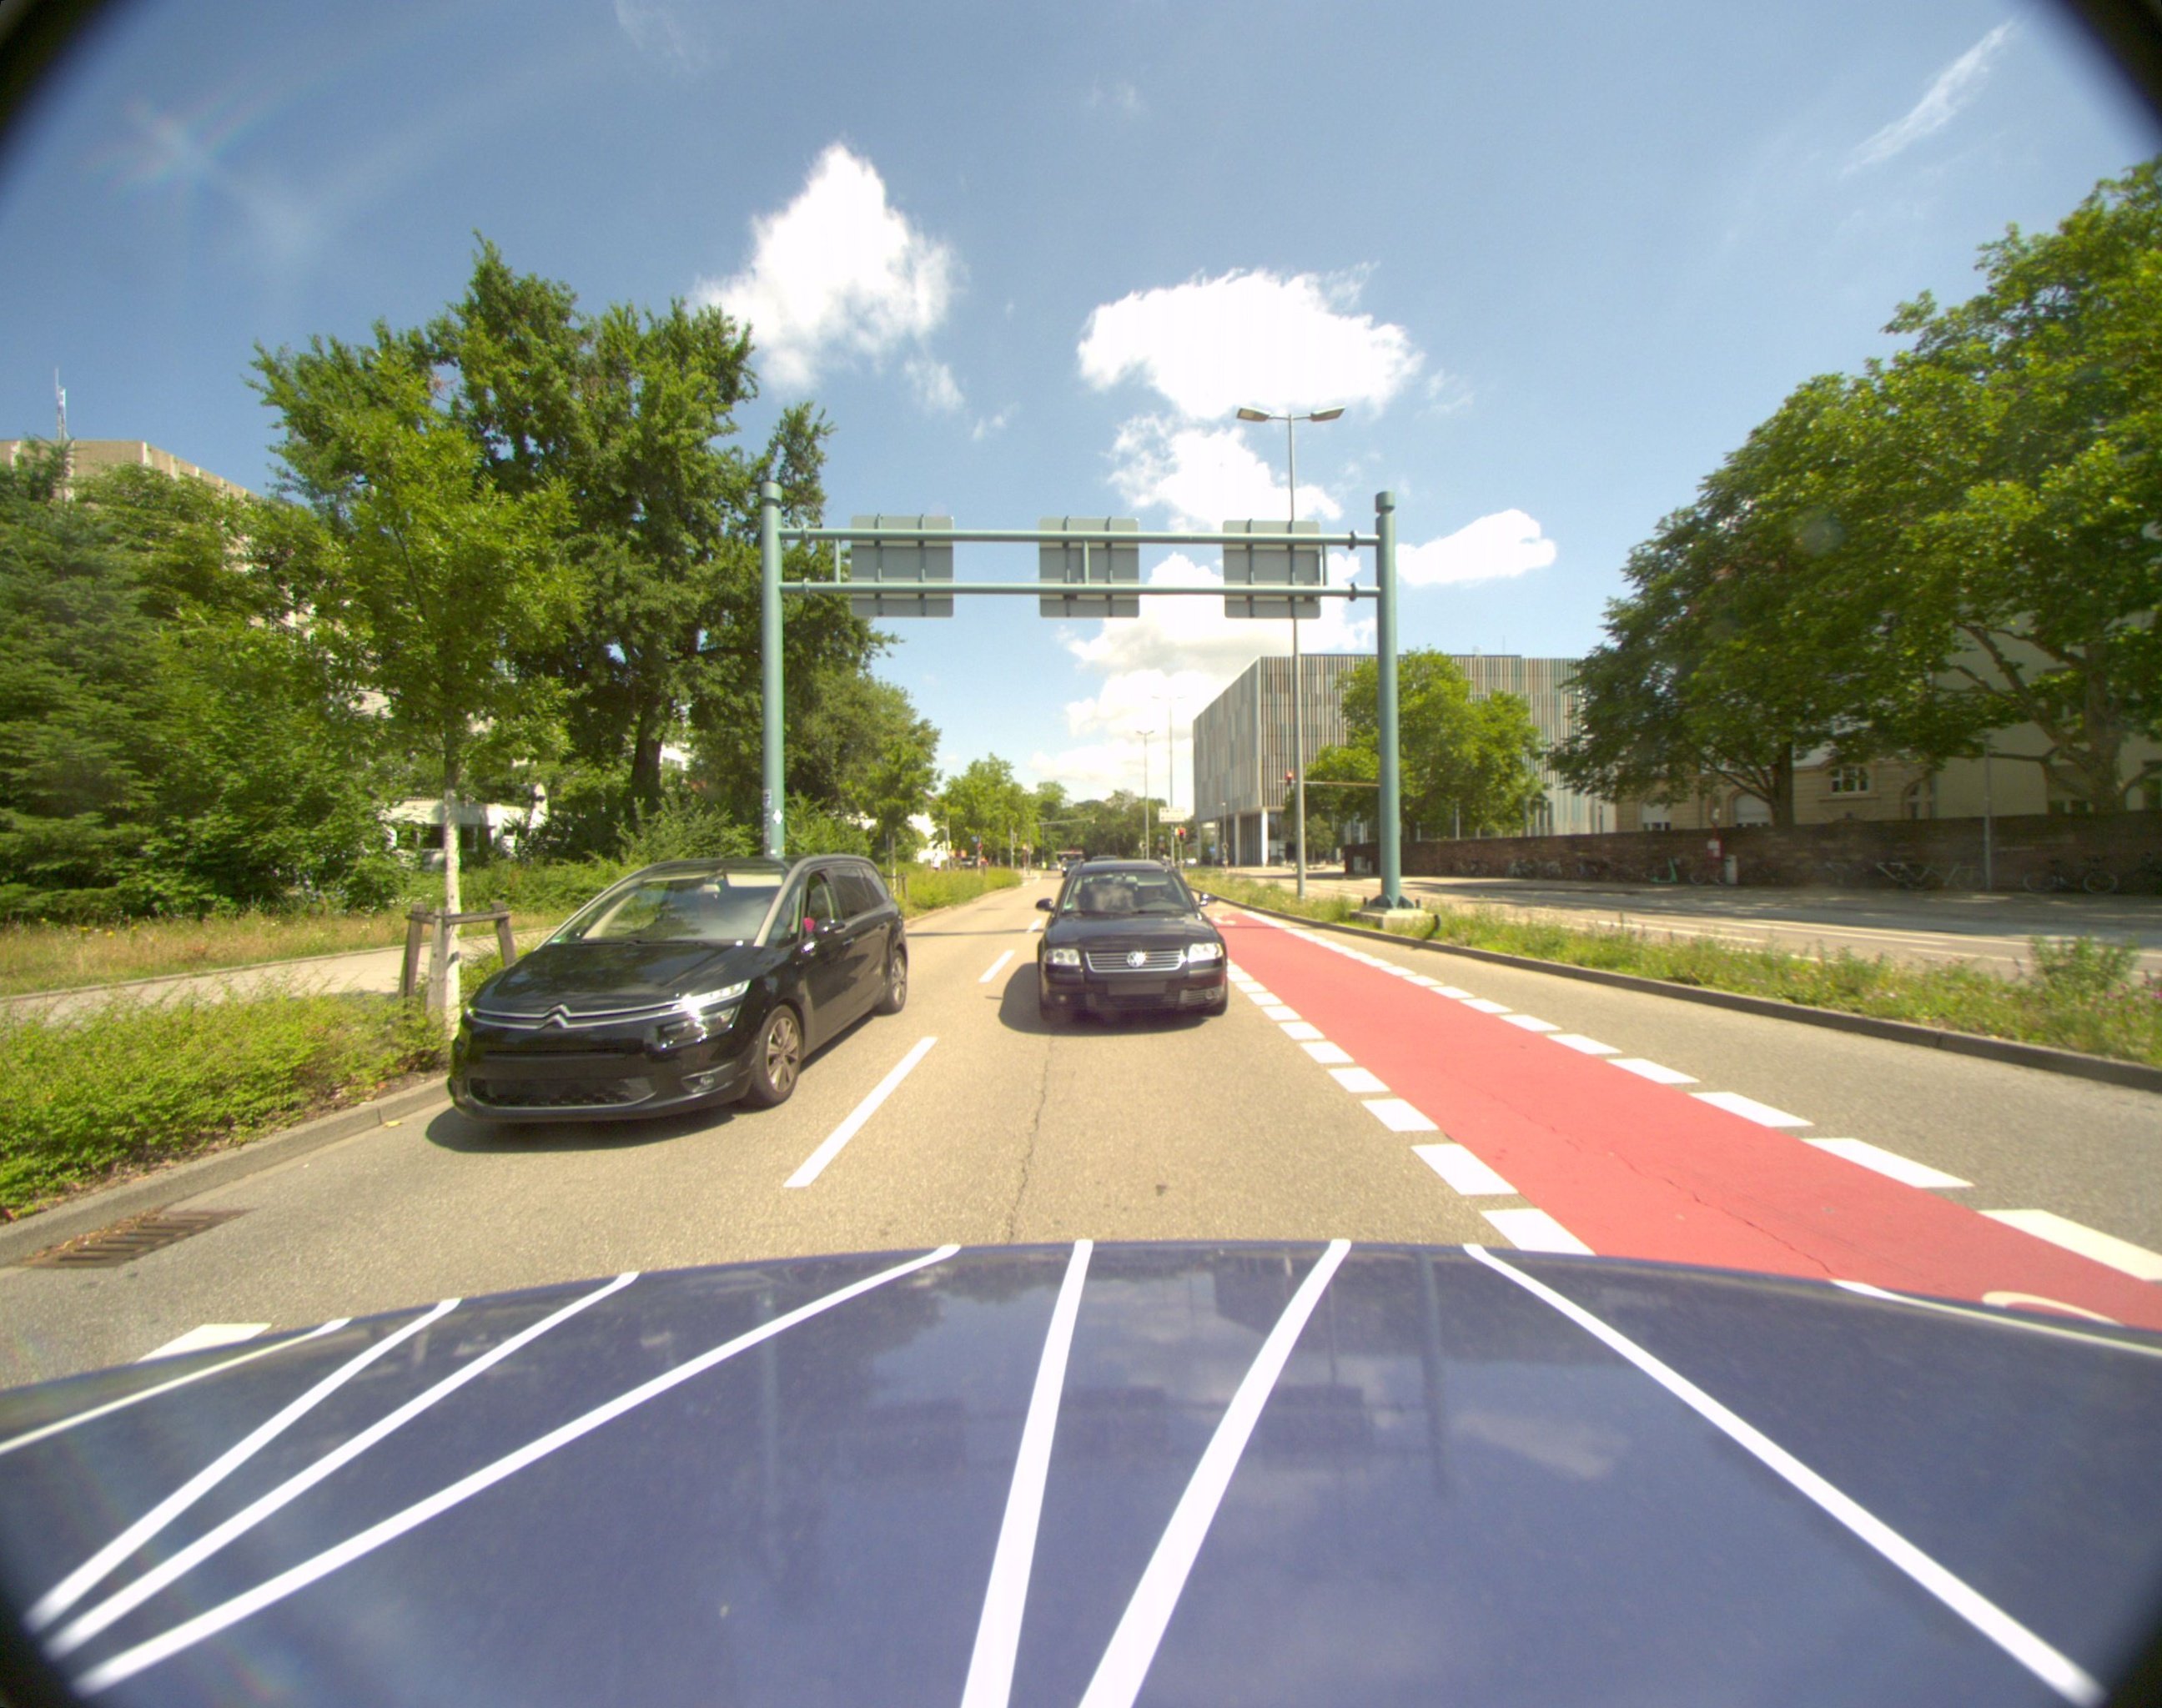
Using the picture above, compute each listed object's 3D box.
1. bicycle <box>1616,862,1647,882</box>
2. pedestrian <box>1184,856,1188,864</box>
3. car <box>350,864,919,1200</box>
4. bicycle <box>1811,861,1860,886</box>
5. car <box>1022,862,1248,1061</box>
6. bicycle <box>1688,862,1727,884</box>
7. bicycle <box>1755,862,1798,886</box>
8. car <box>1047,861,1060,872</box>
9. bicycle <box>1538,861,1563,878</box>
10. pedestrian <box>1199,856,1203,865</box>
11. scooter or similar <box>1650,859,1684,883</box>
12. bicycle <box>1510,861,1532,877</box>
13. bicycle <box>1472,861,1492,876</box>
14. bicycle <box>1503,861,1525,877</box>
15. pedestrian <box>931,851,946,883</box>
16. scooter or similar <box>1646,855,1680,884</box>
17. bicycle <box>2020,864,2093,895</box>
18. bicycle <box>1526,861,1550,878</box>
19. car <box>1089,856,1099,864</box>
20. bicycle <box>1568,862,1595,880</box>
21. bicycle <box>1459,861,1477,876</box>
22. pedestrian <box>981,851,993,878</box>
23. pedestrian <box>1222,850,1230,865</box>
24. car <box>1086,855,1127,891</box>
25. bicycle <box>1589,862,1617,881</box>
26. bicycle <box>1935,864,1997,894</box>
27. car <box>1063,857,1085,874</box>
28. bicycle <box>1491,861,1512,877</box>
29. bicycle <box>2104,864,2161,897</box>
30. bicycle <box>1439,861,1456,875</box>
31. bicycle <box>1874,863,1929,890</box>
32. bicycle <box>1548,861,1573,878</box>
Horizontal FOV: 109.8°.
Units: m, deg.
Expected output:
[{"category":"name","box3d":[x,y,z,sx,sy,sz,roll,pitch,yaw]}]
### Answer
[{"category":"bicycle","box3d":[24.147,0.780,33.348,0.265,0.826,1.235,-1,0,-11]},{"category":"pedestrian","box3d":[17.965,1.010,130.116,0.696,1.445,0.689,-1,0,5]},{"category":"car","box3d":[-2.749,0.936,6.105,1.816,1.598,4.479,-3,0,1]},{"category":"bicycle","box3d":[25.676,0.654,25.867,0.265,0.826,1.235,-1,0,-11]},{"category":"car","box3d":[0.458,0.875,8.296,1.723,1.472,4.594,-3,0,1]},{"category":"bicycle","box3d":[24.811,0.749,30.097,0.265,0.826,1.233,-1,0,-21]},{"category":"bicycle","box3d":[25.181,0.716,27.537,0.265,0.826,1.235,-1,0,-11]},{"category":"car","box3d":[-4.335,1.966,122.150,1.816,1.598,4.479,-3,0,1]},{"category":"bicycle","box3d":[23.177,0.760,37.543,0.265,0.826,1.234,-1,0,-11]},{"category":"pedestrian","box3d":[19.049,1.003,120.595,0.696,1.445,0.689,-1,0,5]},{"category":"scooter or similar","box3d":[24.567,0.702,31.867,0.266,1.014,1.140,-1,0,-22]},{"category":"bicycle","box3d":[23.388,0.800,40.432,0.265,0.826,1.234,-1,0,-11]},{"category":"bicycle","box3d":[22.920,0.810,43.446,0.265,0.826,1.234,-1,0,-11]},{"category":"bicycle","box3d":[22.845,0.806,40.101,0.265,0.826,1.234,-1,0,-11]},{"category":"pedestrian","box3d":[-9.205,0.815,49.125,0.846,2.026,0.901,-1,0,-7]},{"category":"scooter or similar","box3d":[23.835,0.632,31.127,0.265,1.182,1.234,-1,0,-11]},{"category":"bicycle","box3d":[26.622,0.678,20.758,0.265,0.826,1.234,-1,0,-13]},{"category":"bicycle","box3d":[23.461,0.798,39.014,0.265,0.826,1.235,-1,0,-11]},{"category":"car","box3d":[2.875,1.261,164.681,1.758,1.581,4.275,-1,0,-4]},{"category":"bicycle","box3d":[23.858,0.789,36.231,0.265,0.826,1.235,-1,0,-11]},{"category":"bicycle","box3d":[22.800,0.842,44.771,0.265,0.826,1.235,-1,0,-11]},{"category":"pedestrian","box3d":[-6.233,0.691,50.269,0.640,1.754,0.885,-1,0,-15]},{"category":"pedestrian","box3d":[18.893,0.450,99.021,0.864,2.002,0.995,-1,0,-1]},{"category":"car","box3d":[1.158,0.843,35.991,1.723,1.545,4.594,-3,0,1]},{"category":"bicycle","box3d":[23.971,0.793,34.917,0.265,0.826,1.235,-1,0,-11]},{"category":"bicycle","box3d":[26.235,0.730,22.545,0.265,0.826,1.235,-1,0,-11]},{"category":"car","box3d":[-0.578,1.006,67.857,1.806,1.361,4.157,-1,1,1]},{"category":"bicycle","box3d":[23.145,0.828,41.820,0.265,0.826,1.234,-1,0,-11]},{"category":"bicycle","box3d":[27.120,0.669,19.363,0.265,0.826,1.234,-1,0,-13]},{"category":"bicycle","box3d":[22.482,0.843,46.666,0.265,0.826,1.235,-1,0,-11]},{"category":"bicycle","box3d":[25.967,0.695,24.055,0.265,0.826,1.235,-1,0,-11]},{"category":"bicycle","box3d":[23.656,0.759,37.485,0.265,0.826,1.235,-1,0,-11]}]
